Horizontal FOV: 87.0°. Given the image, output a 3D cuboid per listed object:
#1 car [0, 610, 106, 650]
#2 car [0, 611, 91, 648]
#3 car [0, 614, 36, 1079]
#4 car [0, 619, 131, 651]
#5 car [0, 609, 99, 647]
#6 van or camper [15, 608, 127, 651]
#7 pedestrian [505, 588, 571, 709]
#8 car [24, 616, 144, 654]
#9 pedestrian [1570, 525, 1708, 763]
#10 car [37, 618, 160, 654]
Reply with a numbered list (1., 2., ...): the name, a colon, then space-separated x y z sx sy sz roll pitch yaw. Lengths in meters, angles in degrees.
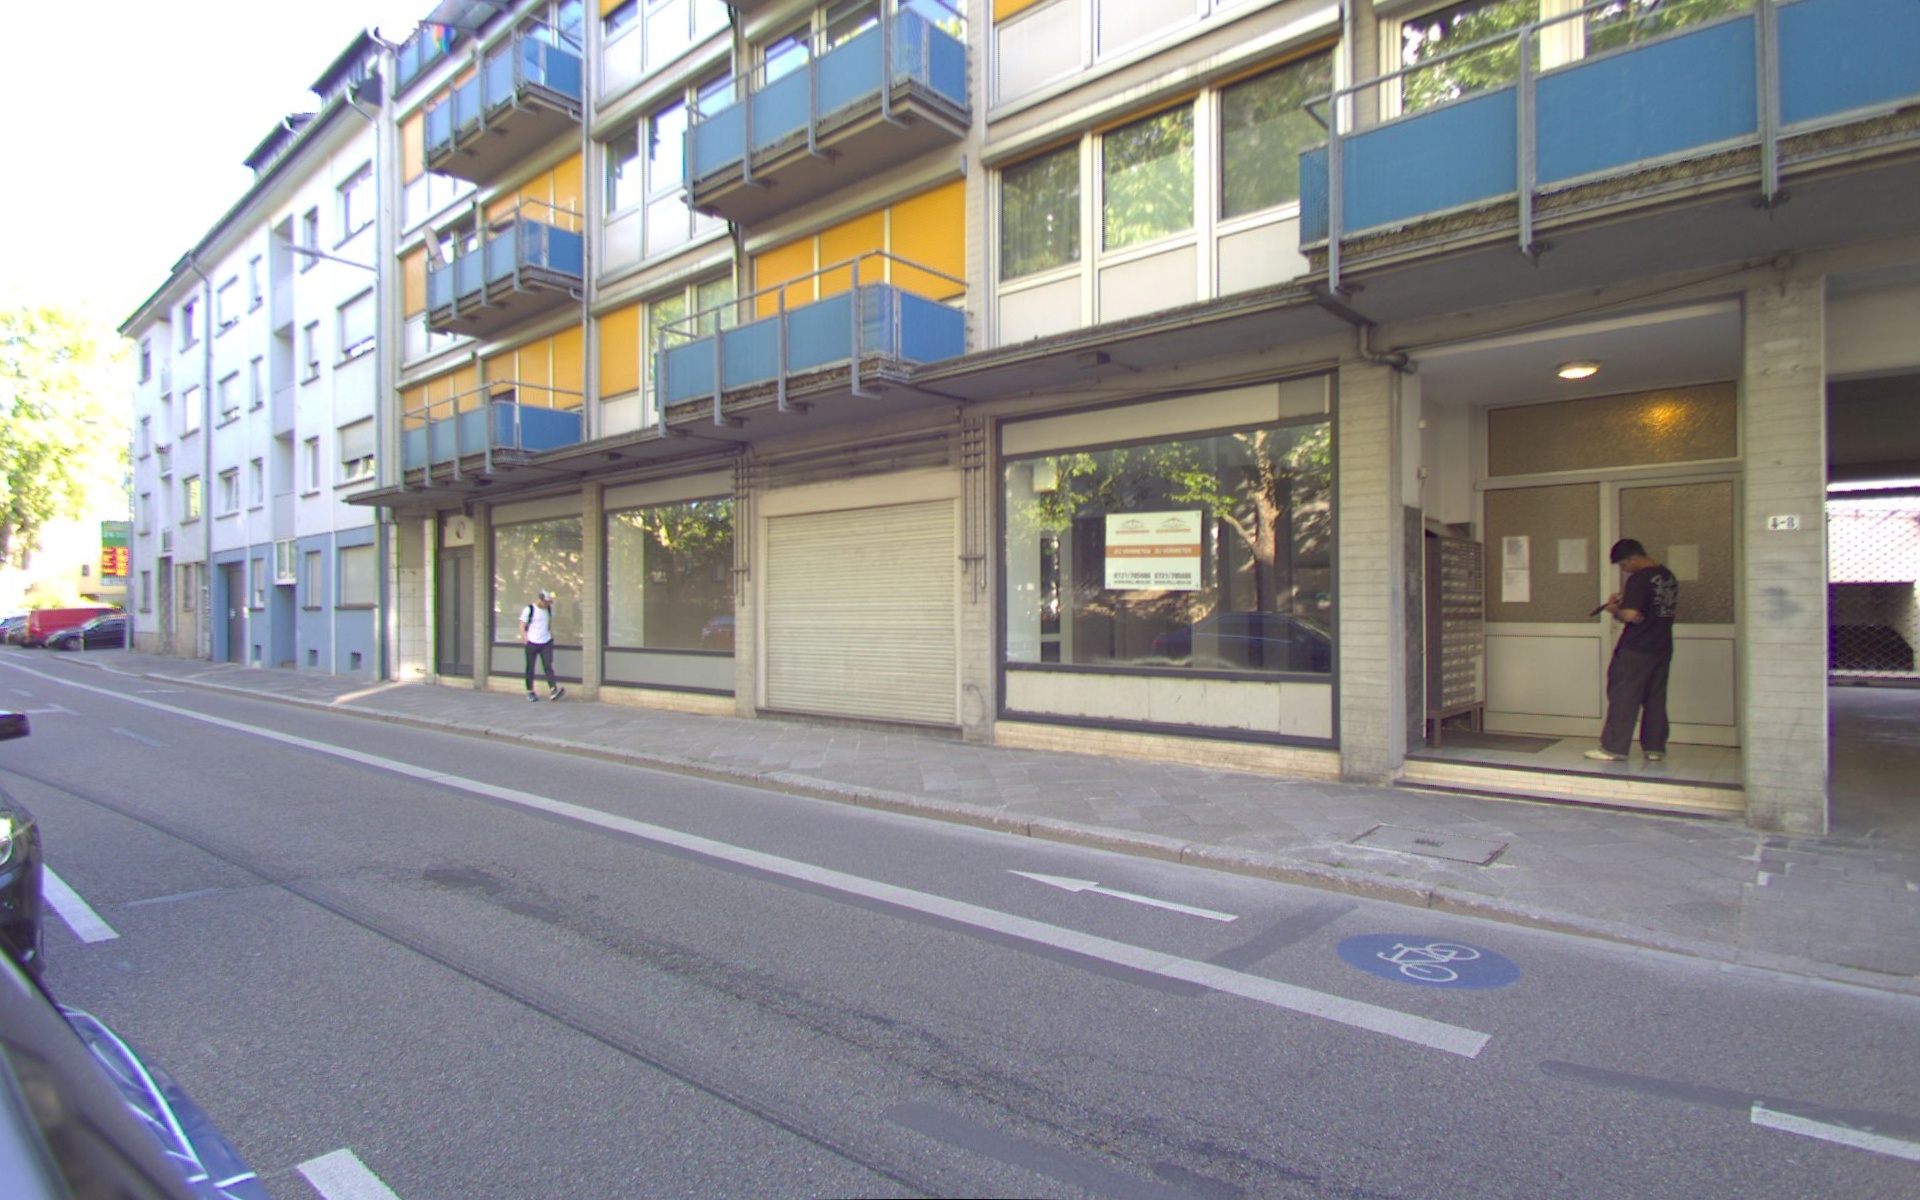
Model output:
1. car: -53.310 1.730 59.196 1.999 2.210 4.927 -1 -1 41
2. car: -57.391 1.814 62.856 1.999 2.210 4.927 -1 -1 41
3. car: -5.008 0.807 3.857 3.861 1.467 1.718 -1 -1 40
4. car: -45.717 1.746 51.697 1.999 1.506 4.927 -1 -1 41
5. car: -55.398 1.665 61.147 1.999 2.210 4.927 -1 -1 41
6. van or camper: -43.885 1.426 50.005 1.999 2.029 3.946 -1 -1 40
7. pedestrian: -6.620 0.741 15.882 0.879 1.813 0.593 -1 0 42
8. car: -41.629 1.617 48.162 1.999 1.703 4.093 -1 -1 41
9. pedestrian: 5.149 0.320 7.697 0.650 1.726 0.550 0 -1 -16
10. car: -39.748 1.629 46.778 1.999 1.506 4.093 -1 -1 41
